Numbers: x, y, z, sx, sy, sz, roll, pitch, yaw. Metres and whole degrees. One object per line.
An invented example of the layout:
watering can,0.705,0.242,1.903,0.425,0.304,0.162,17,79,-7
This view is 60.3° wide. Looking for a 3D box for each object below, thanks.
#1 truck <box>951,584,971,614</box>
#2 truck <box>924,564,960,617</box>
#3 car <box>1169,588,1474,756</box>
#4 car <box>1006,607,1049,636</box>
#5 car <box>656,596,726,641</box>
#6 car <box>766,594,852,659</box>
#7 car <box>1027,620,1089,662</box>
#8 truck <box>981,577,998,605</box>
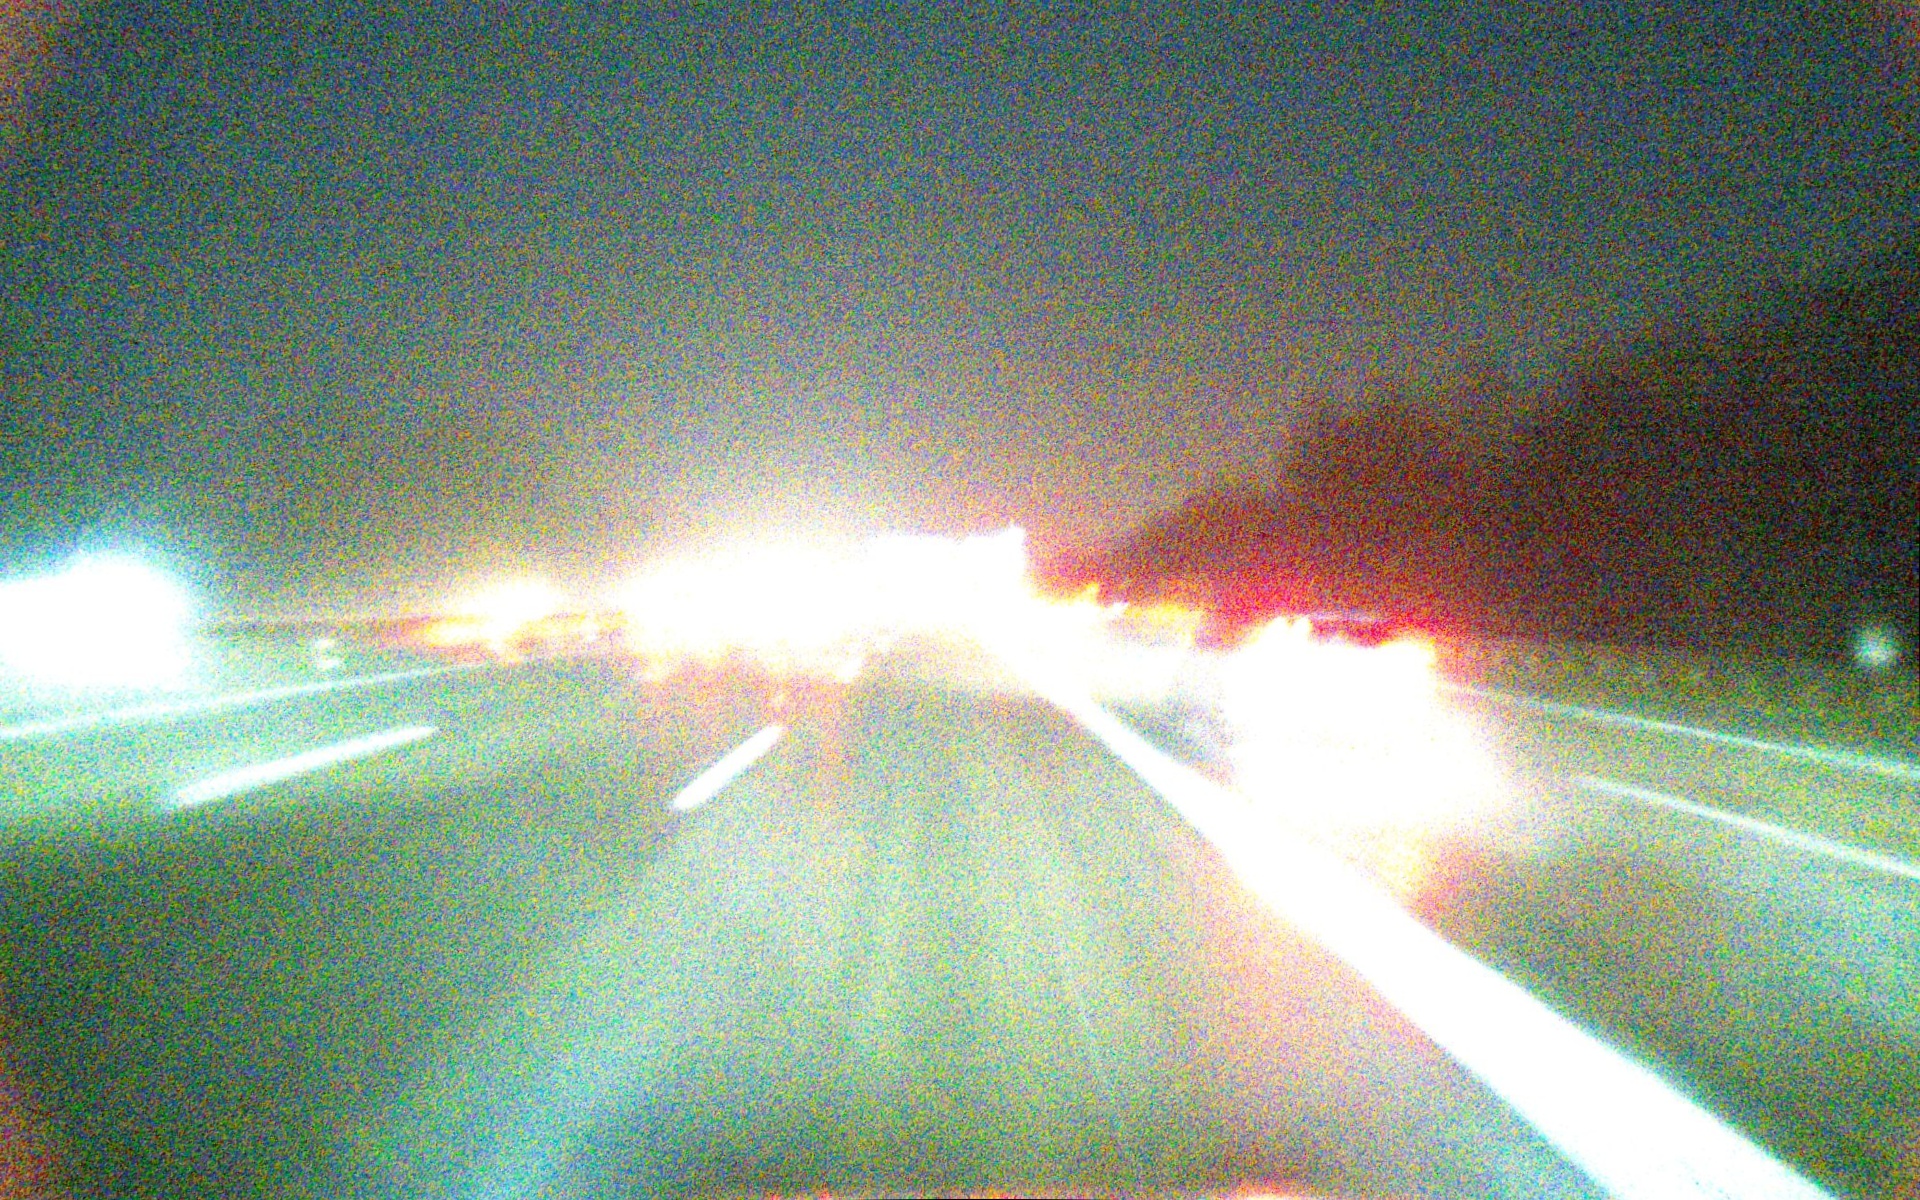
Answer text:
truck,0.171,-0.064,179.508,1.953,3.096,6.465,-3,-1,1
truck,-1.106,-0.565,104.312,1.953,3.096,6.465,-3,-1,1
car,3.679,0.659,17.873,2.016,1.545,5.013,1,0,-2
car,2.997,0.961,73.530,1.550,1.268,3.065,1,-1,-4
car,-8.242,0.593,50.922,1.629,1.258,3.759,-3,-1,-2
car,-3.680,0.614,40.845,1.765,1.513,3.999,1,0,-1
car,3.087,1.285,52.686,1.550,1.268,3.065,1,-1,-4
truck,3.579,-1.069,203.572,1.953,3.096,6.465,-3,-1,1
